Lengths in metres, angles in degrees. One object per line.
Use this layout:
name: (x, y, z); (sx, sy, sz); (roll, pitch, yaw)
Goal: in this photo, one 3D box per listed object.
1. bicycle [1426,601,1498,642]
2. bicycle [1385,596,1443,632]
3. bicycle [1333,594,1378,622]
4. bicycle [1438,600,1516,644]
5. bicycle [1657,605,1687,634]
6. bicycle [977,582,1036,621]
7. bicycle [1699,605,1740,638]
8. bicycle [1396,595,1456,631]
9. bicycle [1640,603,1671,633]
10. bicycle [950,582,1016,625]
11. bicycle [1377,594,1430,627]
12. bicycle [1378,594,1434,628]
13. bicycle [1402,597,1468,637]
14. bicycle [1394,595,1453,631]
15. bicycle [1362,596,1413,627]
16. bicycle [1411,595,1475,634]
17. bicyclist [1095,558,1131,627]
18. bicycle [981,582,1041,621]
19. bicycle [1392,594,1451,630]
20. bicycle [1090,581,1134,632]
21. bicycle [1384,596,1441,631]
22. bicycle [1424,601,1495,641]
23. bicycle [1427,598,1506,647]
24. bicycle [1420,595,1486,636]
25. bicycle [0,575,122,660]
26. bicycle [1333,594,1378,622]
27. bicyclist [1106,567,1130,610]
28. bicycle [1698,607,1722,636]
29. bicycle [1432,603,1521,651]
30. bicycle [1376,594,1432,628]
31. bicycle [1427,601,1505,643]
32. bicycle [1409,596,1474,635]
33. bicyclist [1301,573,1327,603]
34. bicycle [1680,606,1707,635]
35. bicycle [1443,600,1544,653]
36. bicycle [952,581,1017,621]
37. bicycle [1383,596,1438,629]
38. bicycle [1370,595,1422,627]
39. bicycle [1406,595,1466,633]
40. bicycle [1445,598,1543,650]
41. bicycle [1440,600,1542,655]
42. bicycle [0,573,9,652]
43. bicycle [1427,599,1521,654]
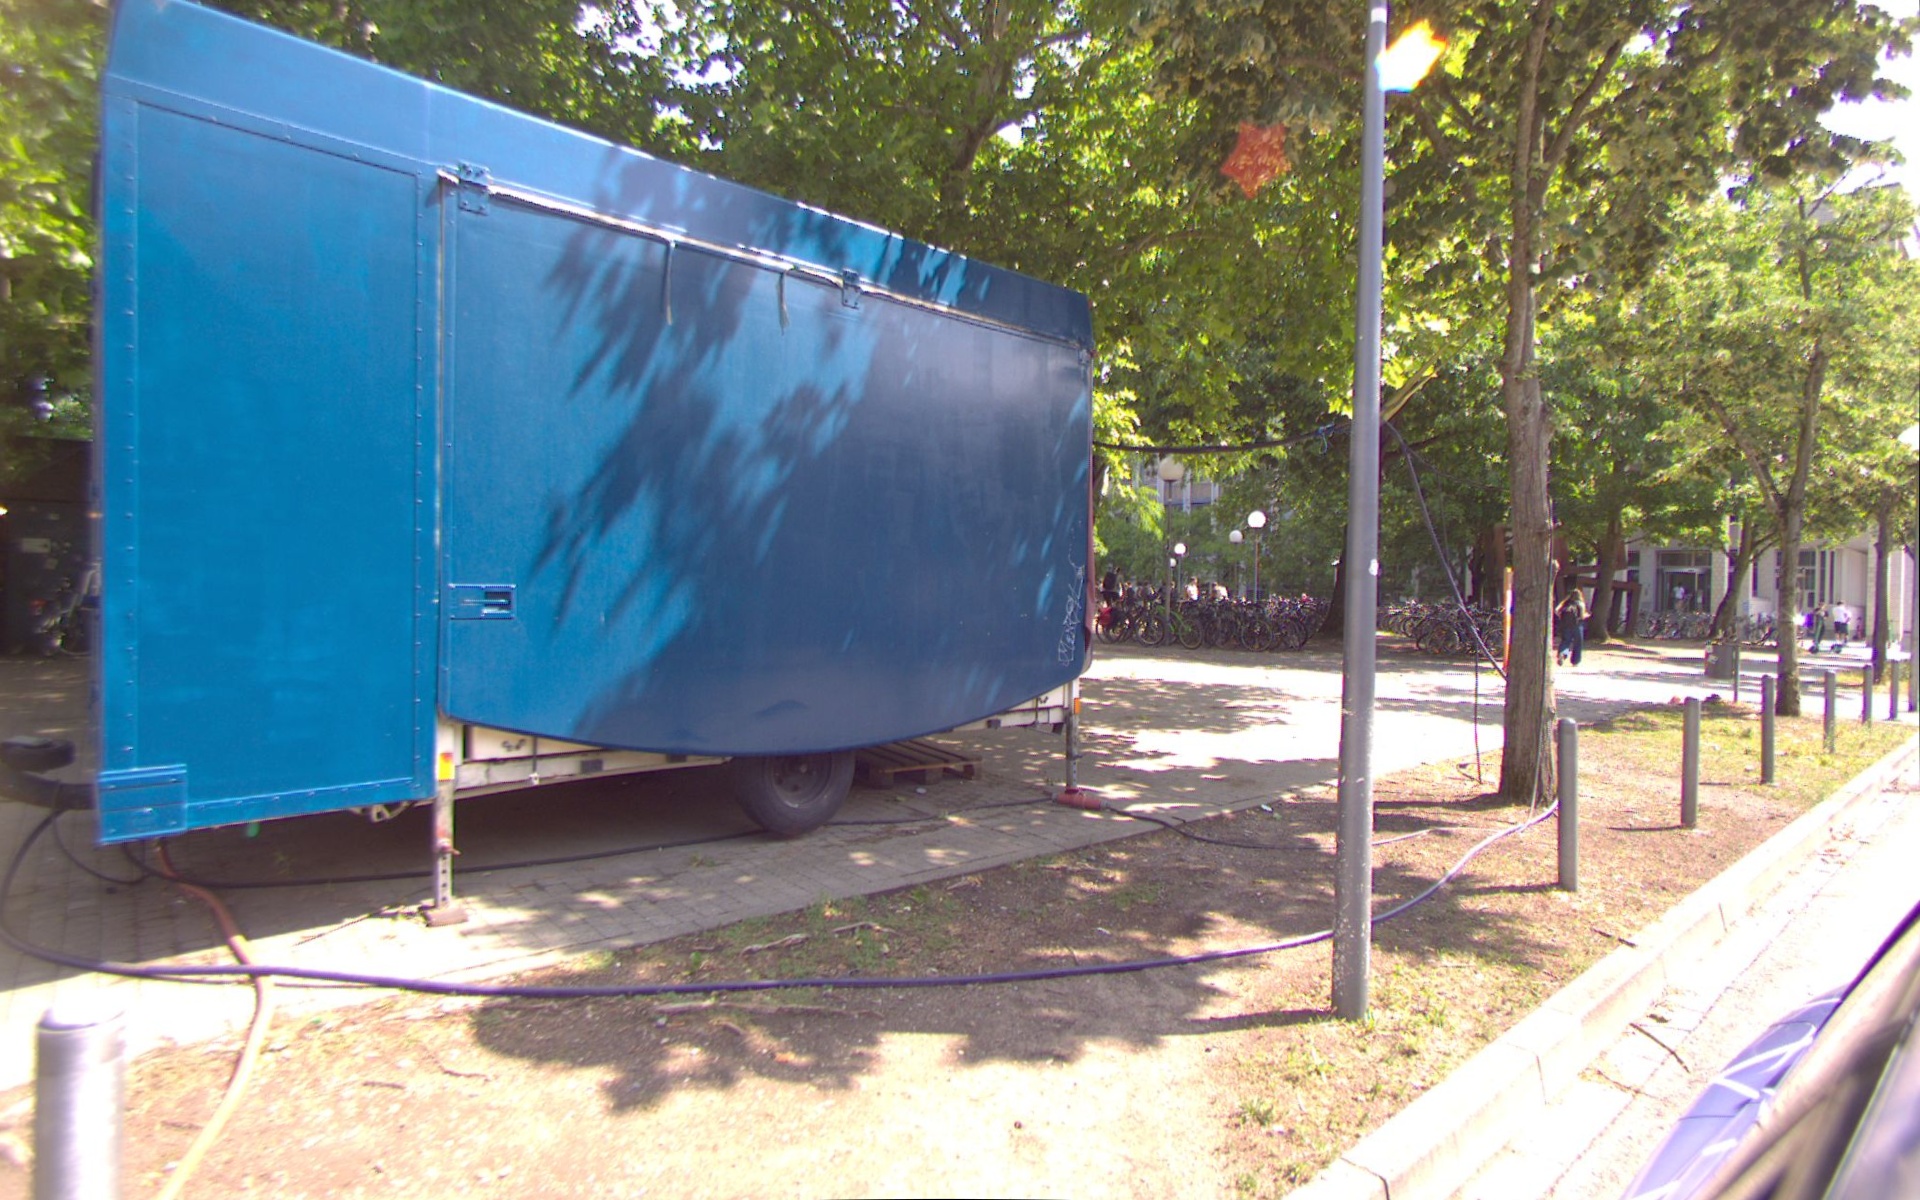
bicycle: (14.448, 0.605, 29.178); (1.770, 1.083, 0.424); (2, 0, 19)
bicycle: (16.370, 0.502, 36.525); (1.817, 1.185, 0.352); (2, 0, 13)
bicycle: (17.631, 0.350, 45.147); (1.812, 1.185, 0.345); (2, 0, 4)
bicycle: (13.597, 0.564, 26.640); (1.712, 1.065, 0.493); (2, 0, 13)
bicycle: (28.855, 0.786, 41.023); (1.486, 1.099, 0.482); (3, 1, -36)
bicycle: (1.357, 0.039, 29.815); (1.737, 1.052, 0.345); (3, 2, 28)
bicycle: (29.642, 0.840, 39.495); (1.494, 1.155, 0.493); (4, 1, -22)
bicycle: (16.171, 0.441, 35.129); (1.817, 1.185, 0.344); (2, 0, 12)
bicycle: (28.326, 0.739, 41.209); (1.664, 1.099, 0.482); (3, 1, -36)
bicycle: (0.620, 0.091, 27.372); (1.768, 1.052, 0.430); (3, 2, 28)
bicycle: (17.355, 0.404, 39.621); (1.815, 1.185, 0.387); (2, 0, 10)
bicycle: (16.601, 0.414, 37.666); (1.817, 1.185, 0.352); (2, 0, 13)
bicycle: (14.934, 0.525, 31.848); (1.768, 1.185, 0.401); (2, 0, 15)
bicycle: (16.242, 0.442, 35.467); (1.817, 1.185, 0.344); (2, 0, 13)
bicycle: (17.570, 0.477, 41.604); (1.815, 1.185, 0.412); (2, 0, 10)
bicycle: (15.771, 0.468, 33.094); (1.819, 1.185, 0.344); (2, 0, 16)
bicyclist: (4.000, -0.201, 26.401); (0.526, 1.750, 1.068); (4, 2, 28)
bicycle: (1.517, 0.037, 30.134); (1.737, 1.052, 0.474); (3, 2, 28)
bicycle: (16.312, 0.432, 35.797); (1.817, 1.185, 0.344); (2, 0, 13)
bicycle: (3.982, 0.155, 26.408); (0.526, 1.268, 1.720); (4, 2, 28)
bicycle: (16.484, 0.495, 36.882); (1.817, 1.185, 0.352); (2, 0, 13)
bicycle: (14.587, 0.597, 29.594); (1.770, 1.083, 0.424); (2, 0, 19)
bicycle: (13.022, 0.567, 26.065); (1.712, 1.169, 0.493); (2, 0, 13)
bicycle: (15.614, 0.482, 32.078); (1.768, 1.185, 0.401); (2, 0, 15)
bicycle: (-12.450, 0.215, 14.072); (0.767, 1.085, 2.407); (0, 0, -29)
bicycle: (17.787, 0.361, 45.484); (1.812, 1.185, 0.345); (2, 0, 4)
bicyclist: (5.599, -0.417, 35.889); (0.732, 1.465, 0.802); (2, 0, 6)
bicycle: (29.834, 0.848, 40.246); (1.416, 1.099, 0.460); (3, 1, -44)
bicycle: (12.510, 0.638, 24.564); (1.895, 1.073, 0.322); (3, 0, 26)
bicycle: (16.670, 0.404, 38.016); (1.817, 1.185, 0.352); (2, 0, 13)
bicycle: (13.551, 0.586, 27.148); (1.772, 1.041, 0.438); (2, 0, 17)
bicycle: (15.584, 0.486, 32.762); (1.819, 1.185, 0.401); (2, 0, 16)
bicyclist: (20.517, -0.681, 58.667); (0.824, 1.561, 0.959); (6, 3, -42)
bicycle: (29.259, 0.817, 40.365); (1.447, 1.099, 0.460); (3, 1, -40)
bicycle: (12.018, 0.583, 22.831); (1.939, 1.096, 0.399); (3, 1, 38)
bicycle: (0.701, 0.015, 29.213); (1.816, 1.052, 0.474); (3, 2, 28)
bicycle: (17.258, 0.463, 38.786); (1.817, 1.185, 0.352); (2, 0, 13)
bicycle: (17.344, 0.443, 40.248); (1.815, 1.185, 0.412); (2, 0, 10)
bicycle: (16.110, 0.465, 34.280); (1.811, 1.185, 0.345); (2, 0, 2)
bicycle: (12.358, 0.544, 23.450); (1.939, 1.096, 0.399); (3, 1, 38)
bicycle: (11.774, 0.594, 22.482); (1.939, 1.096, 0.399); (3, 1, 38)
bicycle: (-13.128, 0.198, 13.116); (0.768, 1.085, 2.405); (0, 1, -34)
bicycle: (11.337, 0.568, 22.351); (1.764, 1.096, 0.432); (3, 1, 38)
